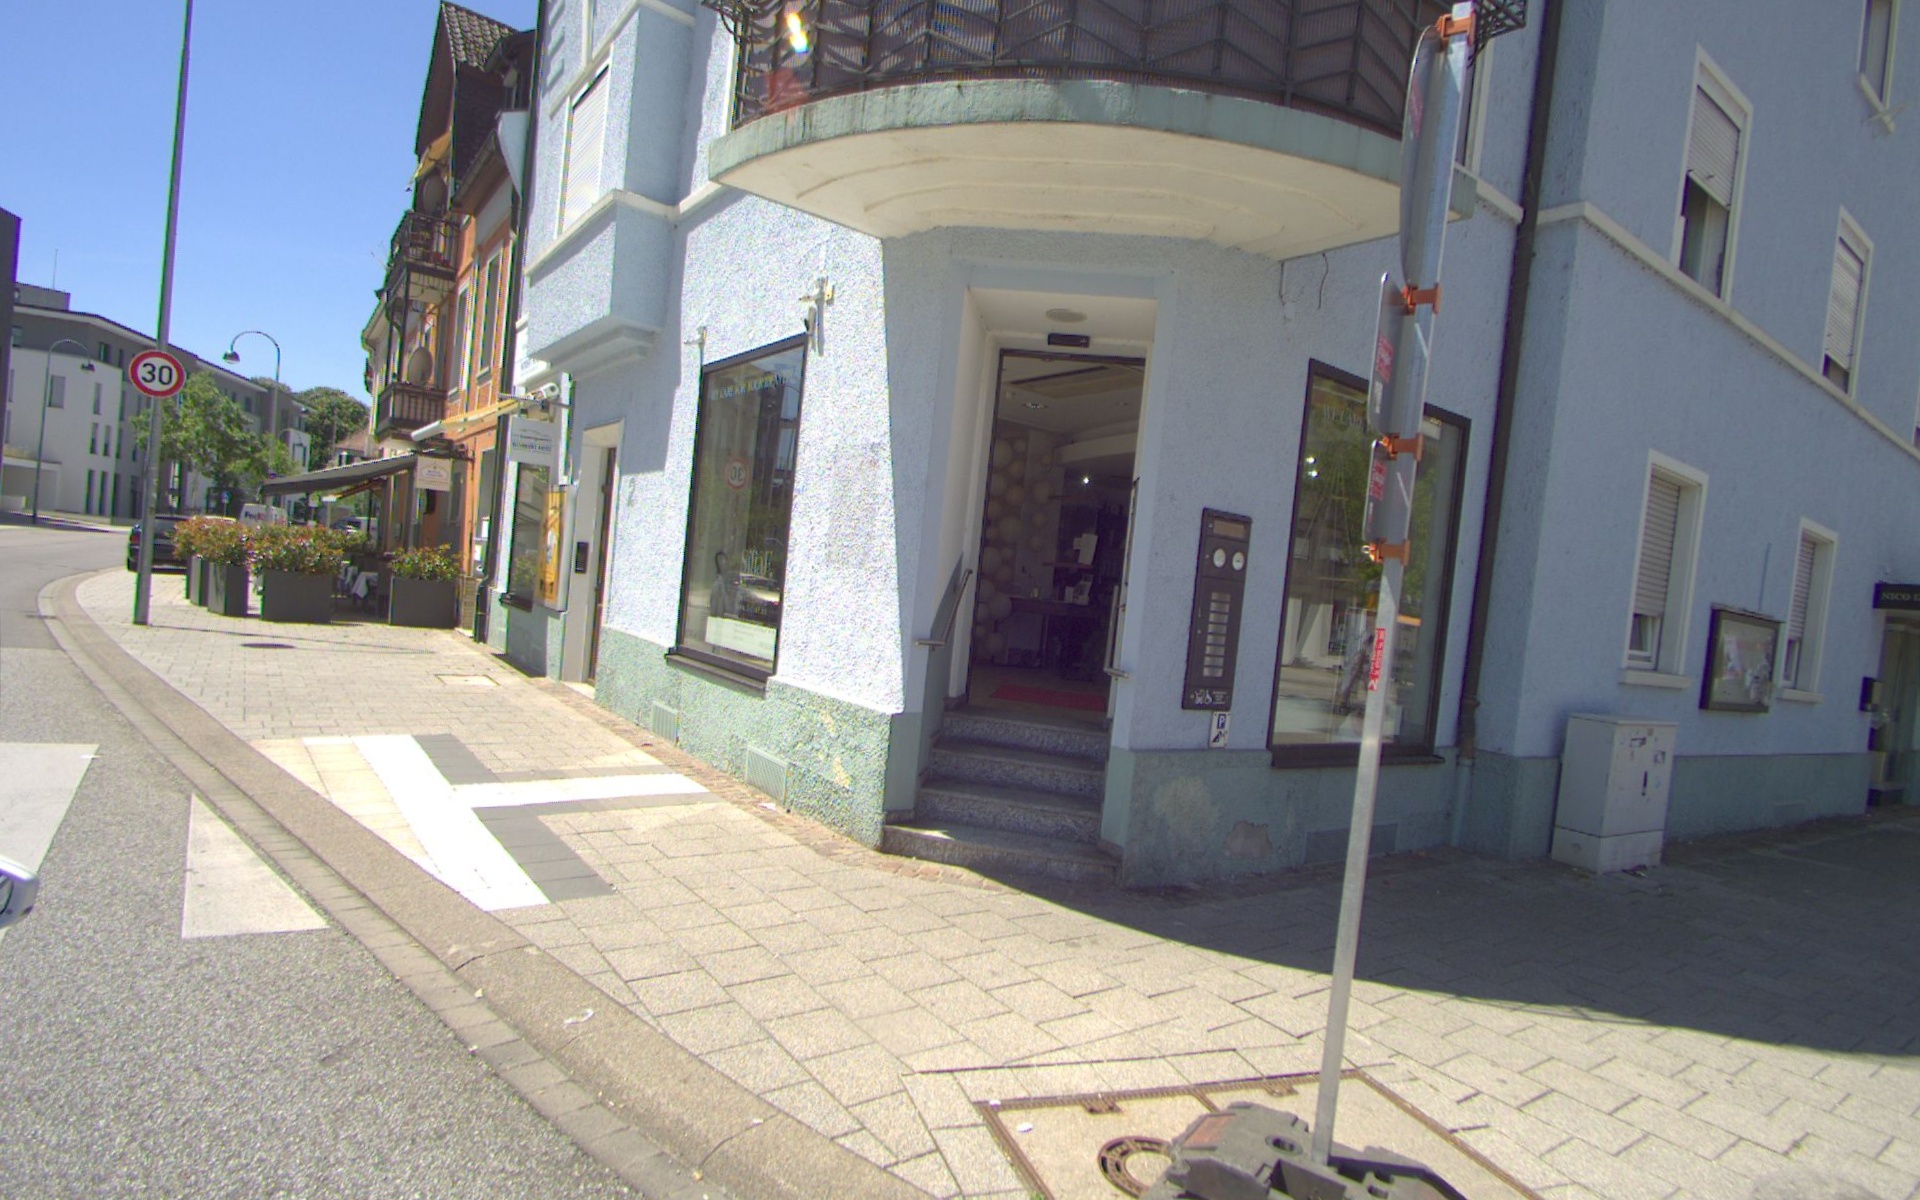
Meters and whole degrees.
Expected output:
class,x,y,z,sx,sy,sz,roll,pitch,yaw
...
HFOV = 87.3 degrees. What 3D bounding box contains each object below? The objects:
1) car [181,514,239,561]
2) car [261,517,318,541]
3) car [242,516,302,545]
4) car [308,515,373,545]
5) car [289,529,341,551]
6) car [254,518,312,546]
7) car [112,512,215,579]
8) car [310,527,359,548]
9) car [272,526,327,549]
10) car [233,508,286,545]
class,x,y,z,sx,sy,sz,roll,pitch,yaw
car,-28.054,-2.338,37.701,1.595,1.550,3.458,4,2,-35
car,-64.053,-6.795,96.189,3.937,1.682,1.994,7,0,-15
car,-62.652,-6.316,91.695,3.936,2.039,1.994,6,0,-14
car,-69.650,-7.840,113.197,5.569,2.611,2.508,6,0,-14
car,-65.920,-6.171,102.911,3.937,1.682,1.994,7,0,-15
car,-63.224,-6.309,94.000,3.936,2.039,1.994,6,0,-14
car,-20.755,-1.434,26.337,1.737,1.506,3.964,3,2,-34
car,-67.340,-6.732,108.398,3.937,1.682,1.994,7,0,-15
car,-65.074,-6.159,99.125,3.937,1.682,1.994,7,0,-15
car,-45.359,-4.727,65.248,1.974,2.039,3.976,6,0,-24
